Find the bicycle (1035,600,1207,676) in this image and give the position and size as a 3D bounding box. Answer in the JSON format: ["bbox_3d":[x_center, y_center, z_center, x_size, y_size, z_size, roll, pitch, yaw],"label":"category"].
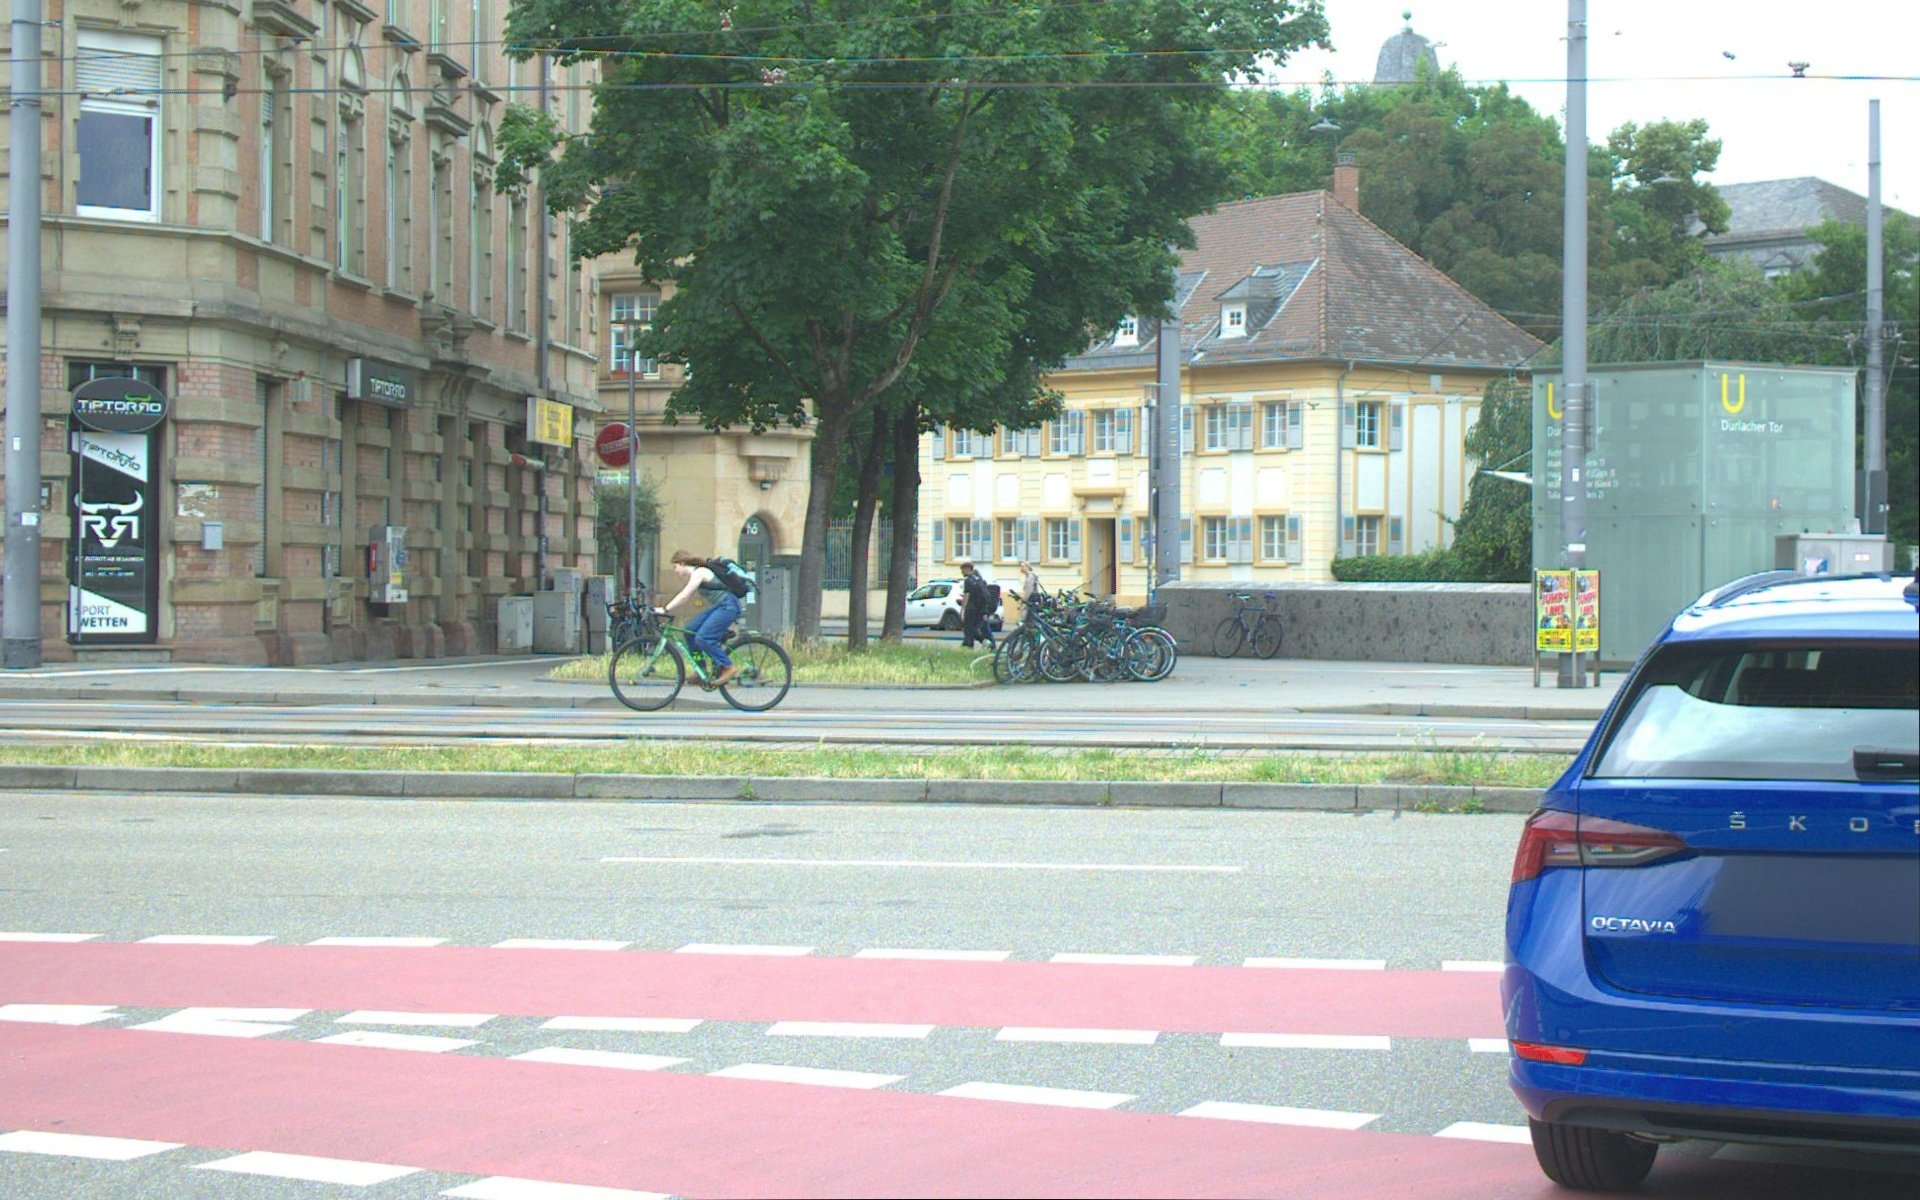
[{"bbox_3d":[2.160,0.506,46.110,2.215,0.983,0.585,1,1,15],"label":"bicycle"}]

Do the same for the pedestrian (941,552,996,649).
[{"bbox_3d":[0.157,0.007,61.659,0.845,1.716,0.952,1,1,9],"label":"pedestrian"}]

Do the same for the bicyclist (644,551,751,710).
[{"bbox_3d":[-2.494,0.285,32.699,0.939,1.489,0.663,0,1,2],"label":"bicyclist"}]

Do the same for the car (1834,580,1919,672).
[{"bbox_3d":[16.134,0.427,55.147,1.691,1.444,4.143,0,1,-30],"label":"car"}]

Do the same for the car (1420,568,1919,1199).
[{"bbox_3d":[2.678,0.688,8.744,1.782,1.483,4.460,1,1,24],"label":"car"}]

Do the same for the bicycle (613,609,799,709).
[{"bbox_3d":[-2.409,0.557,32.690,1.714,0.912,0.608,0,1,1],"label":"bicycle"}]

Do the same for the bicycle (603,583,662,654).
[{"bbox_3d":[-4.438,0.239,46.697,0.660,0.911,1.990,0,1,-1],"label":"bicycle"}]

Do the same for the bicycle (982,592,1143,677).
[{"bbox_3d":[1.231,0.411,41.233,1.864,0.983,0.500,1,1,14],"label":"bicycle"}]

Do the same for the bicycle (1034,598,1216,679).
[{"bbox_3d":[2.072,0.480,43.183,2.215,0.983,0.499,1,1,15],"label":"bicycle"}]

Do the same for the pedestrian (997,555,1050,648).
[{"bbox_3d":[1.183,0.017,63.980,0.845,1.716,0.952,1,1,9],"label":"pedestrian"}]

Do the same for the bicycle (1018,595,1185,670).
[{"bbox_3d":[1.942,0.441,47.324,2.215,0.983,0.585,1,1,15],"label":"bicycle"}]

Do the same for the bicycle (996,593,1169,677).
[{"bbox_3d":[1.491,0.418,41.949,2.033,0.983,0.521,1,1,15],"label":"bicycle"}]

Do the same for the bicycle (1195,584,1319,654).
[{"bbox_3d":[4.882,0.304,56.668,0.738,1.111,2.363,0,1,-32],"label":"bicycle"}]

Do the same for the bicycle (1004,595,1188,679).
[{"bbox_3d":[1.675,0.452,42.485,2.215,1.002,0.480,1,1,15],"label":"bicycle"}]

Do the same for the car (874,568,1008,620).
[{"bbox_3d":[-0.572,-0.178,100.339,1.692,1.444,4.186,0,1,-38],"label":"car"}]
